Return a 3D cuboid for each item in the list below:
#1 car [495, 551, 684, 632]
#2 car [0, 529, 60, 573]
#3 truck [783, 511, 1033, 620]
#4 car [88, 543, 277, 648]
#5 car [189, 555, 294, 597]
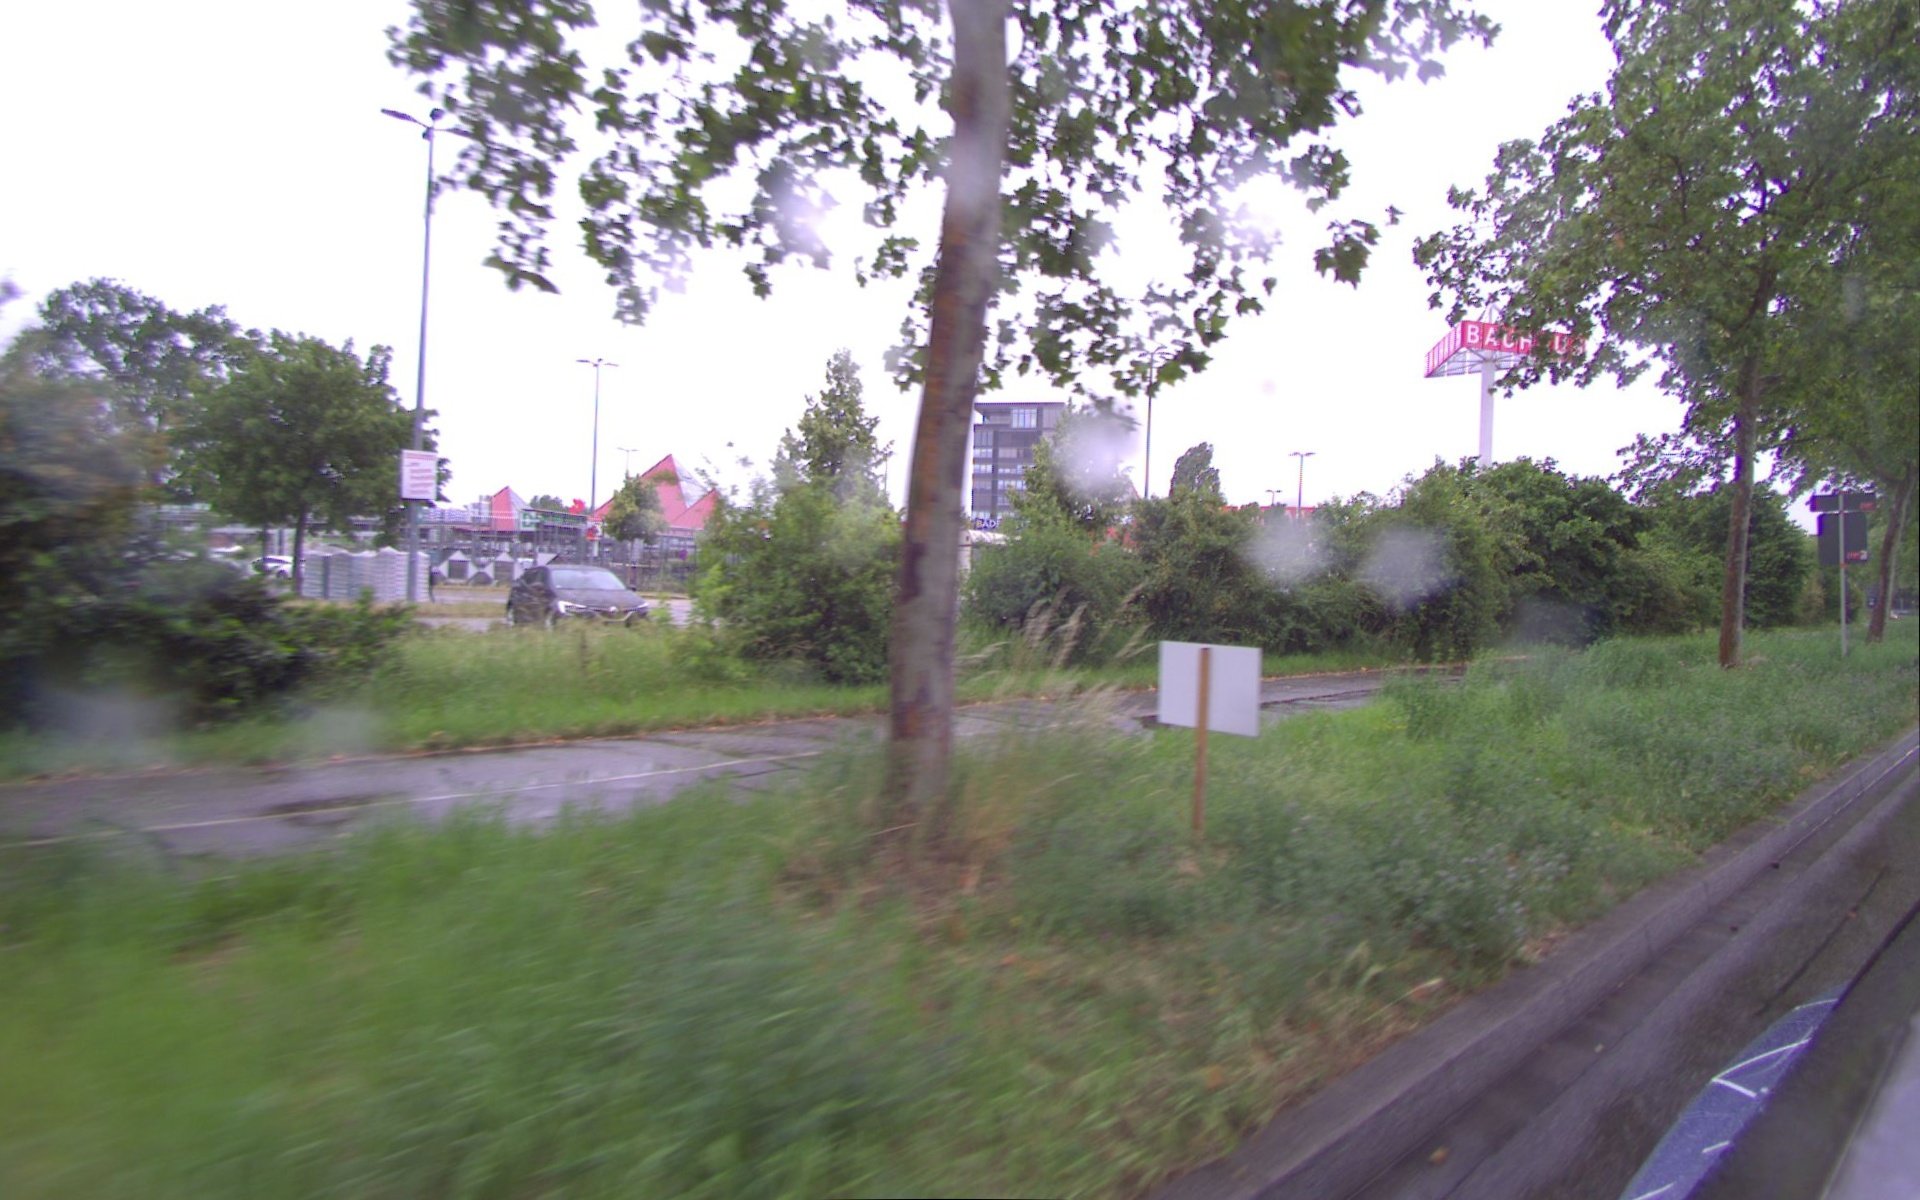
[{"bbox_3d":[-7.182,-0.178,19.438,1.967,1.382,3.990,-1,1,-44],"label":"car"},{"bbox_3d":[-49.450,-2.477,51.141,1.977,2.170,5.628,0,1,23],"label":"car"},{"bbox_3d":[-1.438,-0.769,24.693,6.529,2.333,2.186,0,1,43],"label":"truck"},{"bbox_3d":[-11.825,-0.087,15.295,1.838,1.382,3.990,-1,1,-44],"label":"car"},{"bbox_3d":[-39.616,-1.363,55.826,5.085,2.229,2.072,1,3,17],"label":"car"}]
